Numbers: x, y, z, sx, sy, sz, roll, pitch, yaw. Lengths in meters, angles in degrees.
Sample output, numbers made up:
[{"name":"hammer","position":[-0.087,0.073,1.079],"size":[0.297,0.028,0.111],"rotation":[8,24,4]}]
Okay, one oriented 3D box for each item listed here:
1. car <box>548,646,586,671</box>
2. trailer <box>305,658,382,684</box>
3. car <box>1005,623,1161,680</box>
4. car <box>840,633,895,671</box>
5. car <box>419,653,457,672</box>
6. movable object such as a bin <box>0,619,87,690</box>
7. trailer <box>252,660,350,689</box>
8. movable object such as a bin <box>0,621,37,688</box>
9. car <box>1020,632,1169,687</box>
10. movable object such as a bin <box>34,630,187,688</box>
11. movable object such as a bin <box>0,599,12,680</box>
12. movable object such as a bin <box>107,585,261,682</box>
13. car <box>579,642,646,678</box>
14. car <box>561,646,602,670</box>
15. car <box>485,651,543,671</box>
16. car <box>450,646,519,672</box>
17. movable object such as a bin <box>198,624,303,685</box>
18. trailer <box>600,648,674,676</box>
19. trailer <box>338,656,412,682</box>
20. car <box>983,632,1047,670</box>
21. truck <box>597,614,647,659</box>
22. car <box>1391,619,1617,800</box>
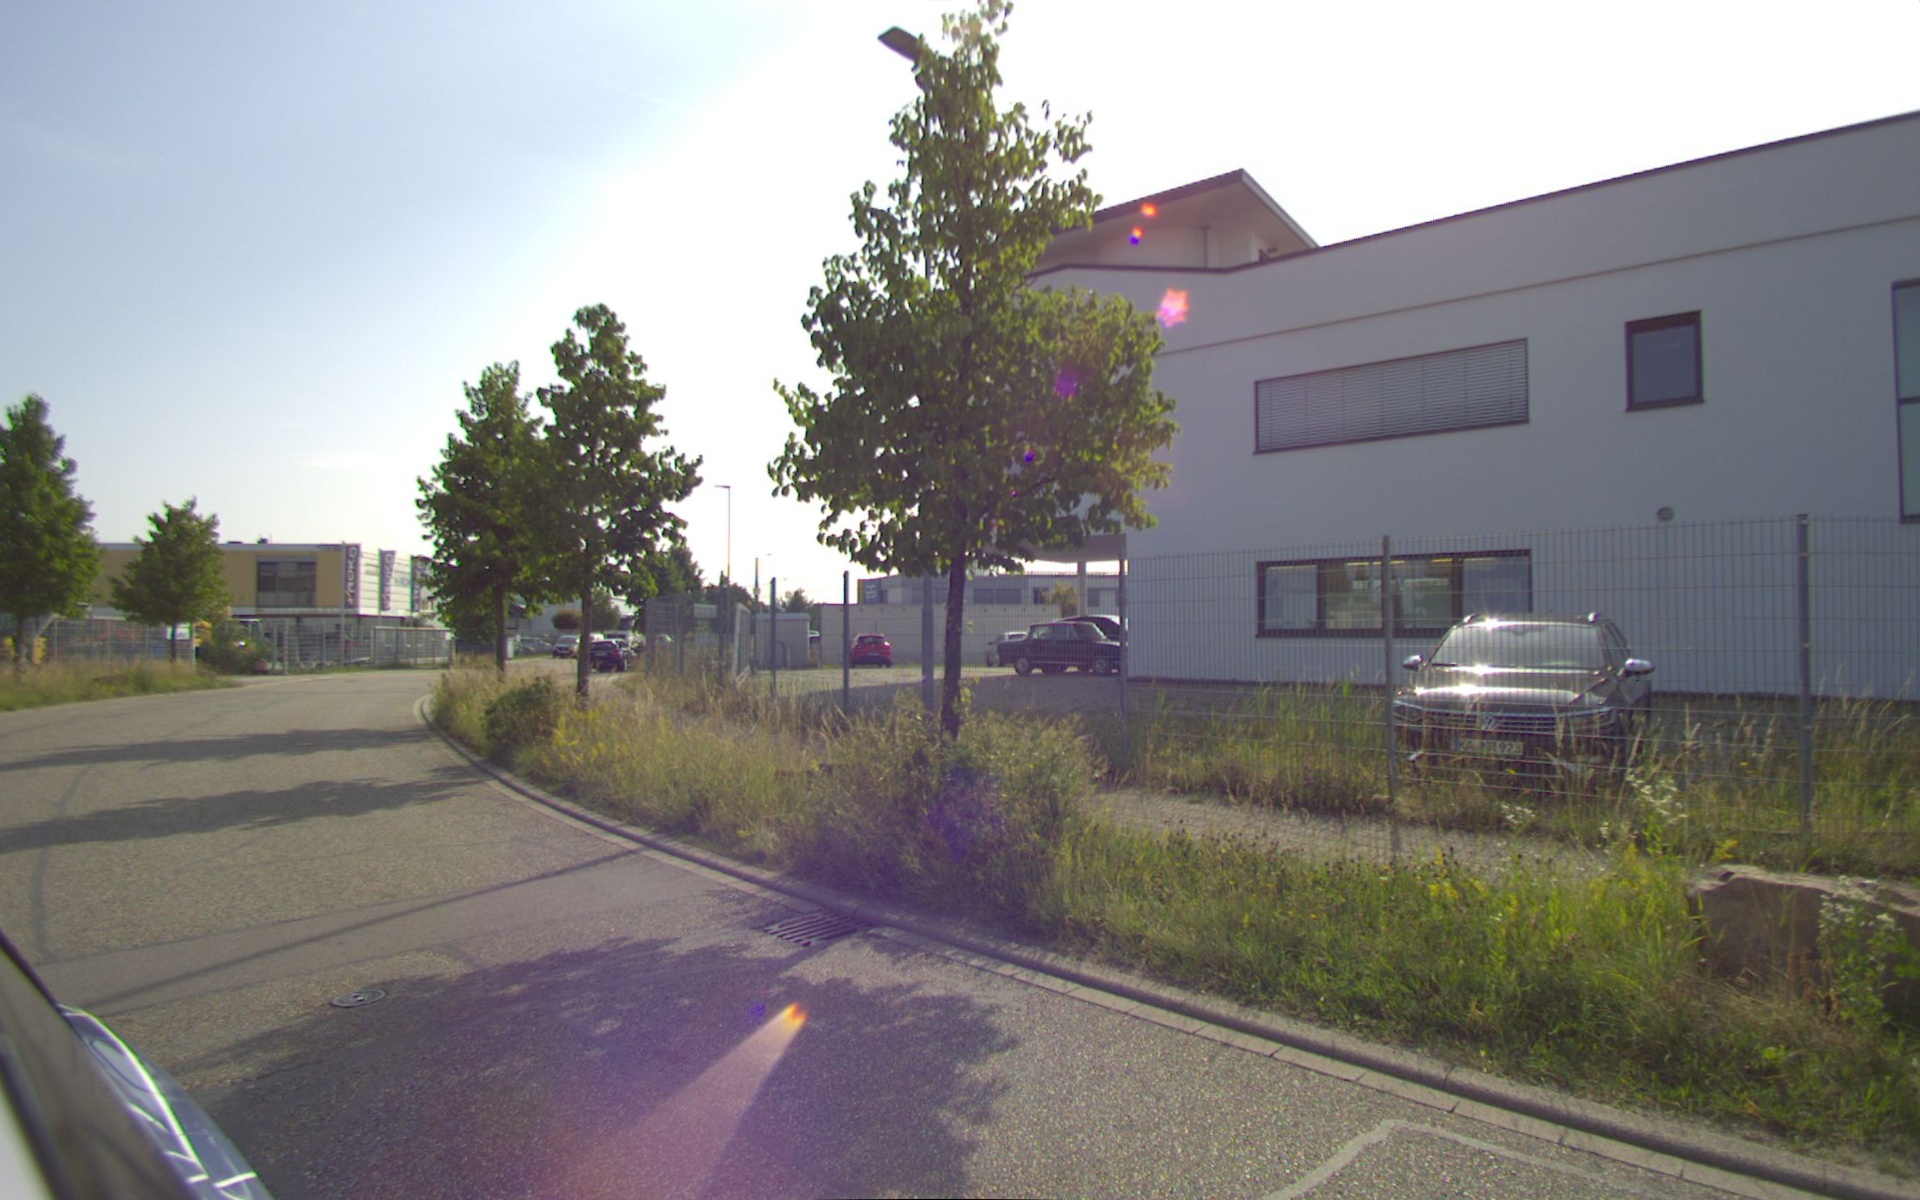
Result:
[{"name":"car","position":[-29.537,4.375,76.173],"size":[1.802,1.733,4.256],"rotation":[0,-2,-9]},{"name":"trailer","position":[-31.996,3.675,52.630],"size":[1.919,1.253,4.302],"rotation":[0,-3,-9]},{"name":"car","position":[3.241,1.373,27.085],"size":[3.915,1.426,1.543],"rotation":[-3,-4,38]},{"name":"car","position":[-3.984,2.240,42.855],"size":[1.746,1.537,4.314],"rotation":[0,-4,-13]},{"name":"car","position":[-44.857,5.367,87.070],"size":[1.864,1.568,4.381],"rotation":[0,-3,-13]},{"name":"movable object such as a bin","position":[-42.356,2.444,45.860],"size":[1.968,3.055,4.498],"rotation":[0,-3,-7]},{"name":"trailer","position":[-31.061,3.489,47.881],"size":[2.099,1.253,4.804],"rotation":[0,-3,-9]},{"name":"movable object such as a bin","position":[-44.678,2.478,45.884],"size":[1.968,3.055,4.379],"rotation":[0,-3,-7]},{"name":"car","position":[3.936,1.747,29.973],"size":[3.994,1.499,1.845],"rotation":[-3,-4,38]},{"name":"movable object such as a bin","position":[-38.995,2.708,46.709],"size":[2.886,2.511,5.346],"rotation":[0,-3,-7]},{"name":"movable object such as a bin","position":[-47.509,1.783,46.632],"size":[2.650,3.903,5.726],"rotation":[0,-3,-7]},{"name":"movable object such as a bin","position":[-41.816,1.915,54.968],"size":[3.273,4.843,7.687],"rotation":[0,-3,-9]},{"name":"car","position":[-15.532,2.713,45.440],"size":[1.969,1.478,4.438],"rotation":[-2,-3,-7]},{"name":"car","position":[-30.247,4.642,80.992],"size":[1.969,1.803,4.606],"rotation":[0,-2,-7]},{"name":"car","position":[-35.281,4.837,80.095],"size":[3.934,1.381,1.795],"rotation":[-1,-3,-12]},{"name":"car","position":[-33.485,4.121,71.370],"size":[4.167,1.751,1.904],"rotation":[0,-3,-15]},{"name":"movable object such as a bin","position":[-34.013,2.601,48.731],"size":[1.863,2.773,5.167],"rotation":[0,-3,-7]},{"name":"trailer","position":[-16.353,3.160,51.599],"size":[2.104,1.242,7.165],"rotation":[-2,-3,-6]},{"name":"trailer","position":[-33.012,3.873,57.279],"size":[1.969,1.321,4.570],"rotation":[0,-2,-7]},{"name":"car","position":[2.293,2.204,43.158],"size":[1.809,1.506,4.485],"rotation":[0,-4,-9]},{"name":"truck","position":[-32.406,3.614,97.370],"size":[2.711,4.046,9.702],"rotation":[2,-3,-8]},{"name":"car","position":[5.541,0.950,10.113],"size":[1.593,1.465,3.463],"rotation":[-2,-3,34]}]
